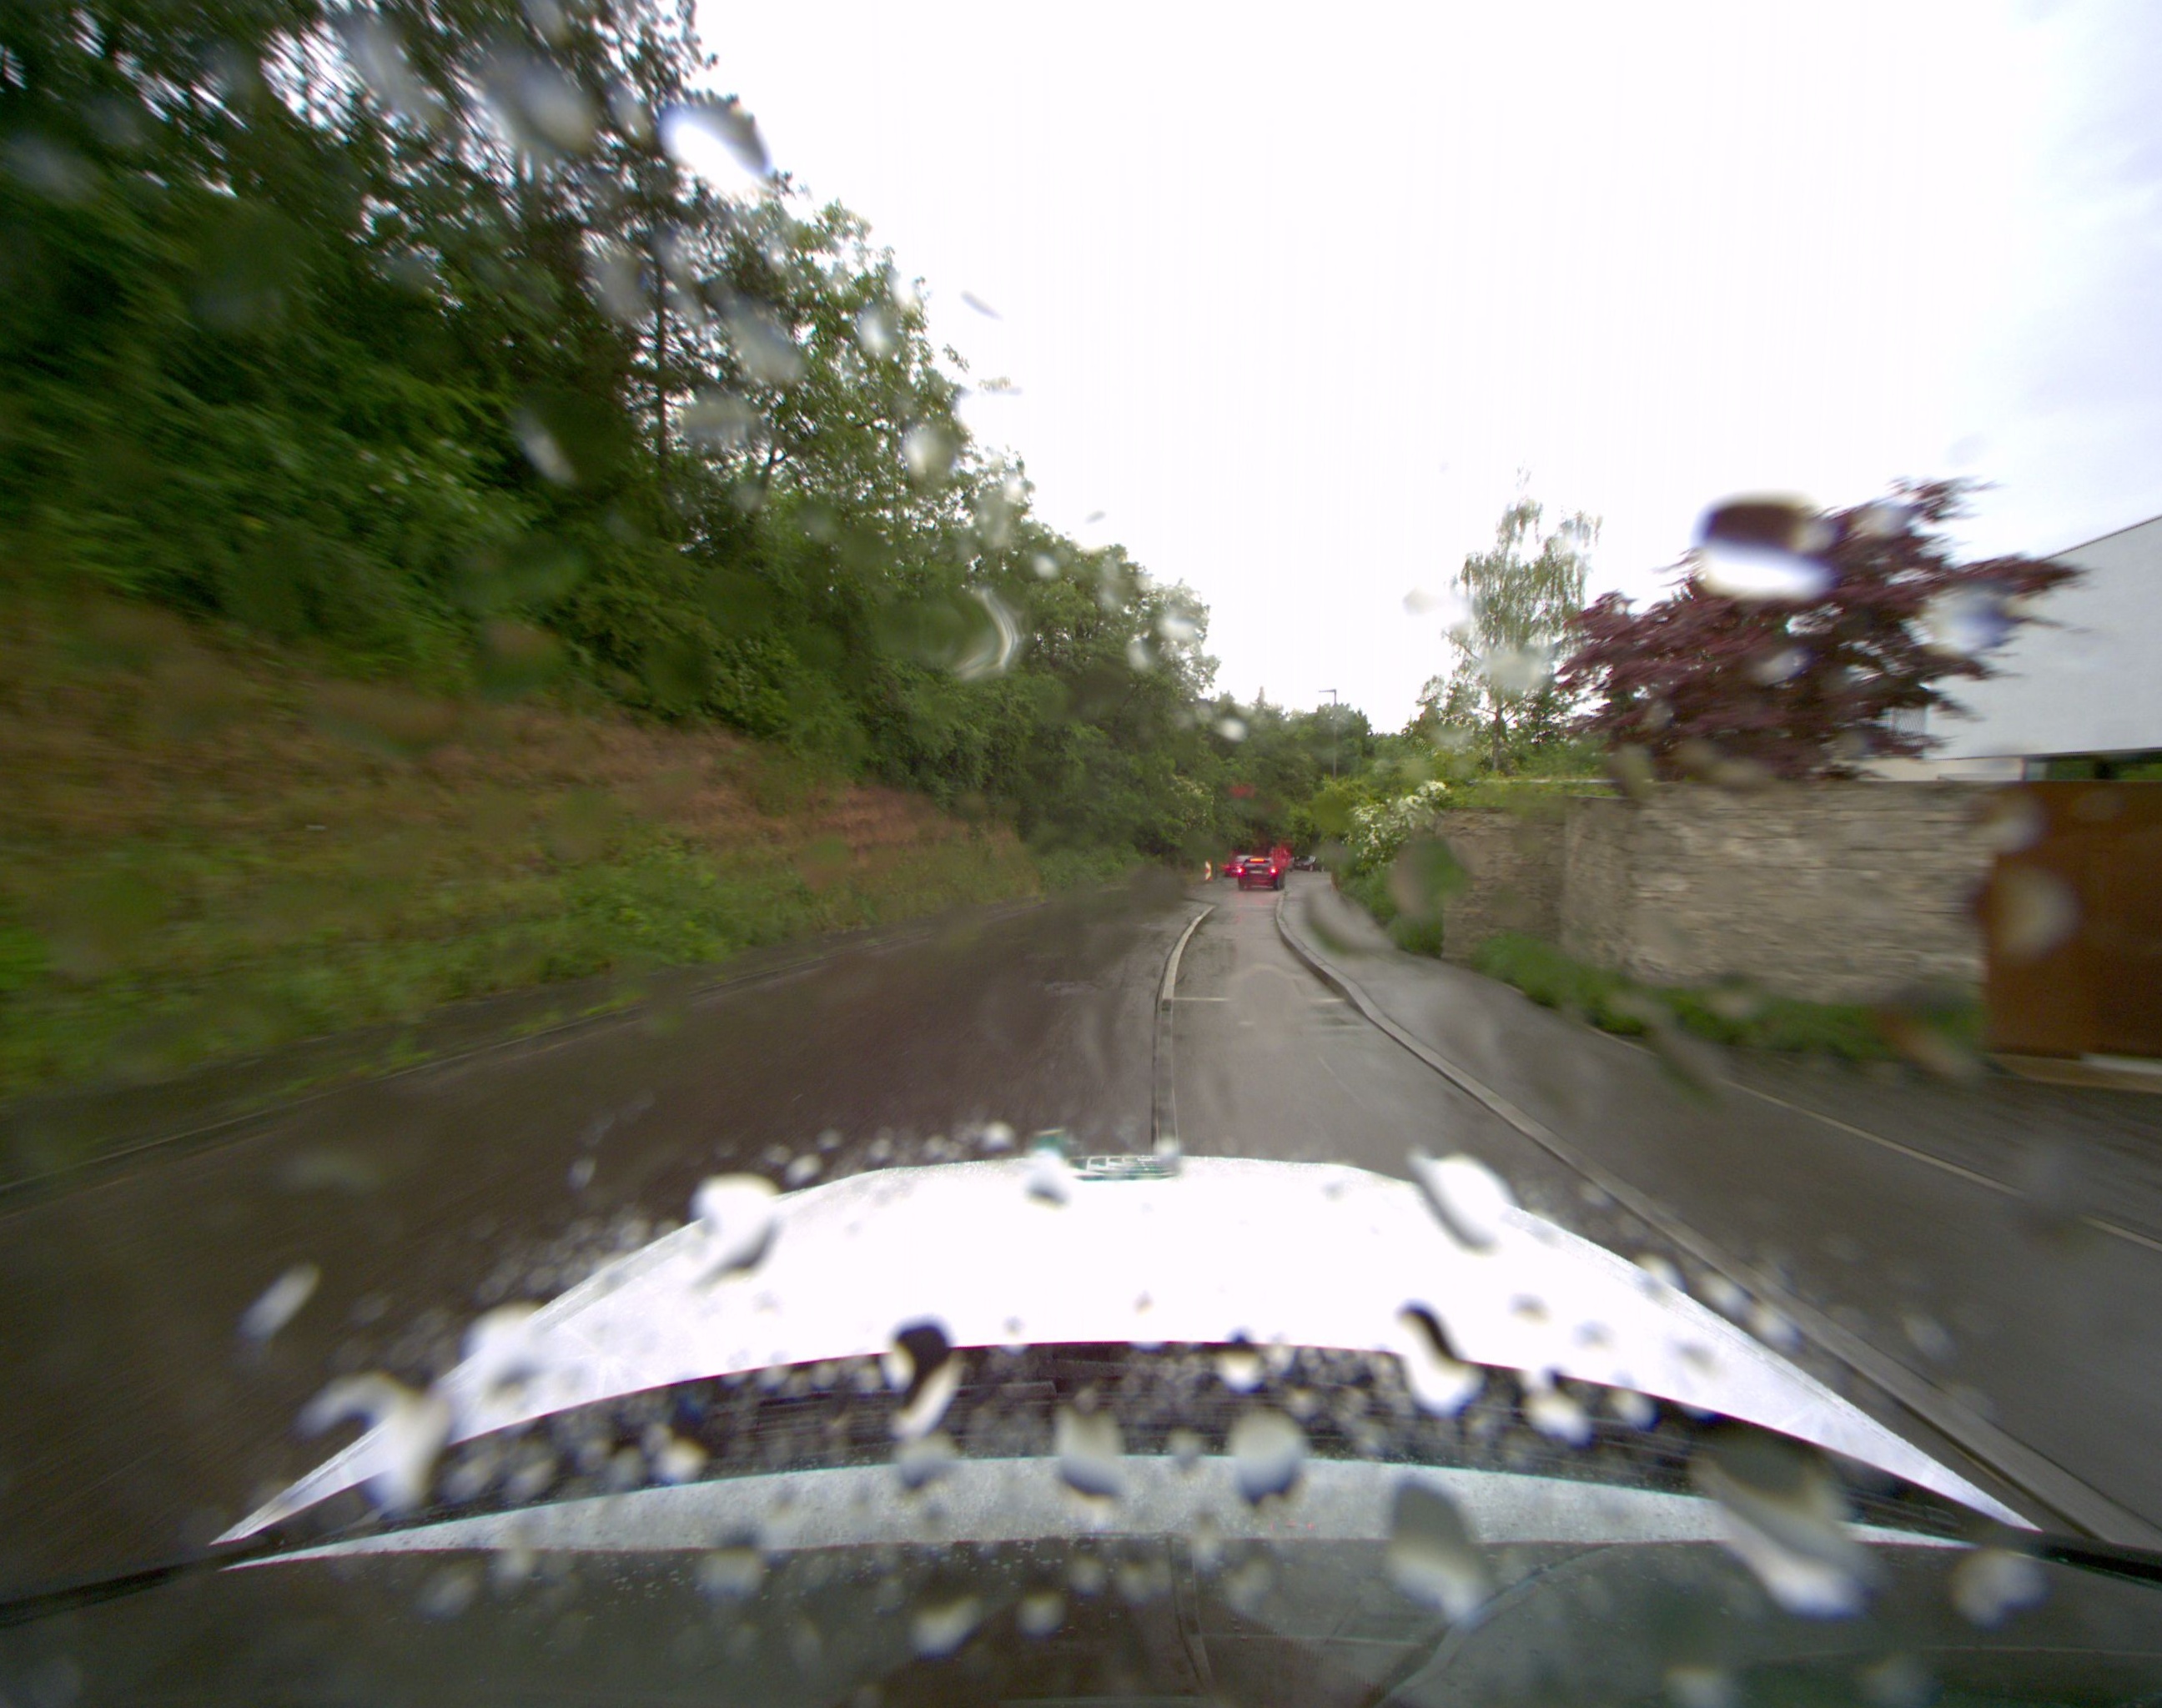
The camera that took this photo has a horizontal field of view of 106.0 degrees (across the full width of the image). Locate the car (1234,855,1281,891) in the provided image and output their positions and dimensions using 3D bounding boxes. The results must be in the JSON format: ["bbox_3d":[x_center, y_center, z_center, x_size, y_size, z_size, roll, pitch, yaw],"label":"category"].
[{"bbox_3d":[8.002,0.800,36.746,1.855,1.512,4.109,0,0,15],"label":"car"}]

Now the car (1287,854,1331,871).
[{"bbox_3d":[21.201,0.766,75.635,1.975,1.508,4.597,2,0,43],"label":"car"}]

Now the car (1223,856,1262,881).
[{"bbox_3d":[10.710,0.913,53.728,1.685,1.471,4.022,2,1,23],"label":"car"}]
